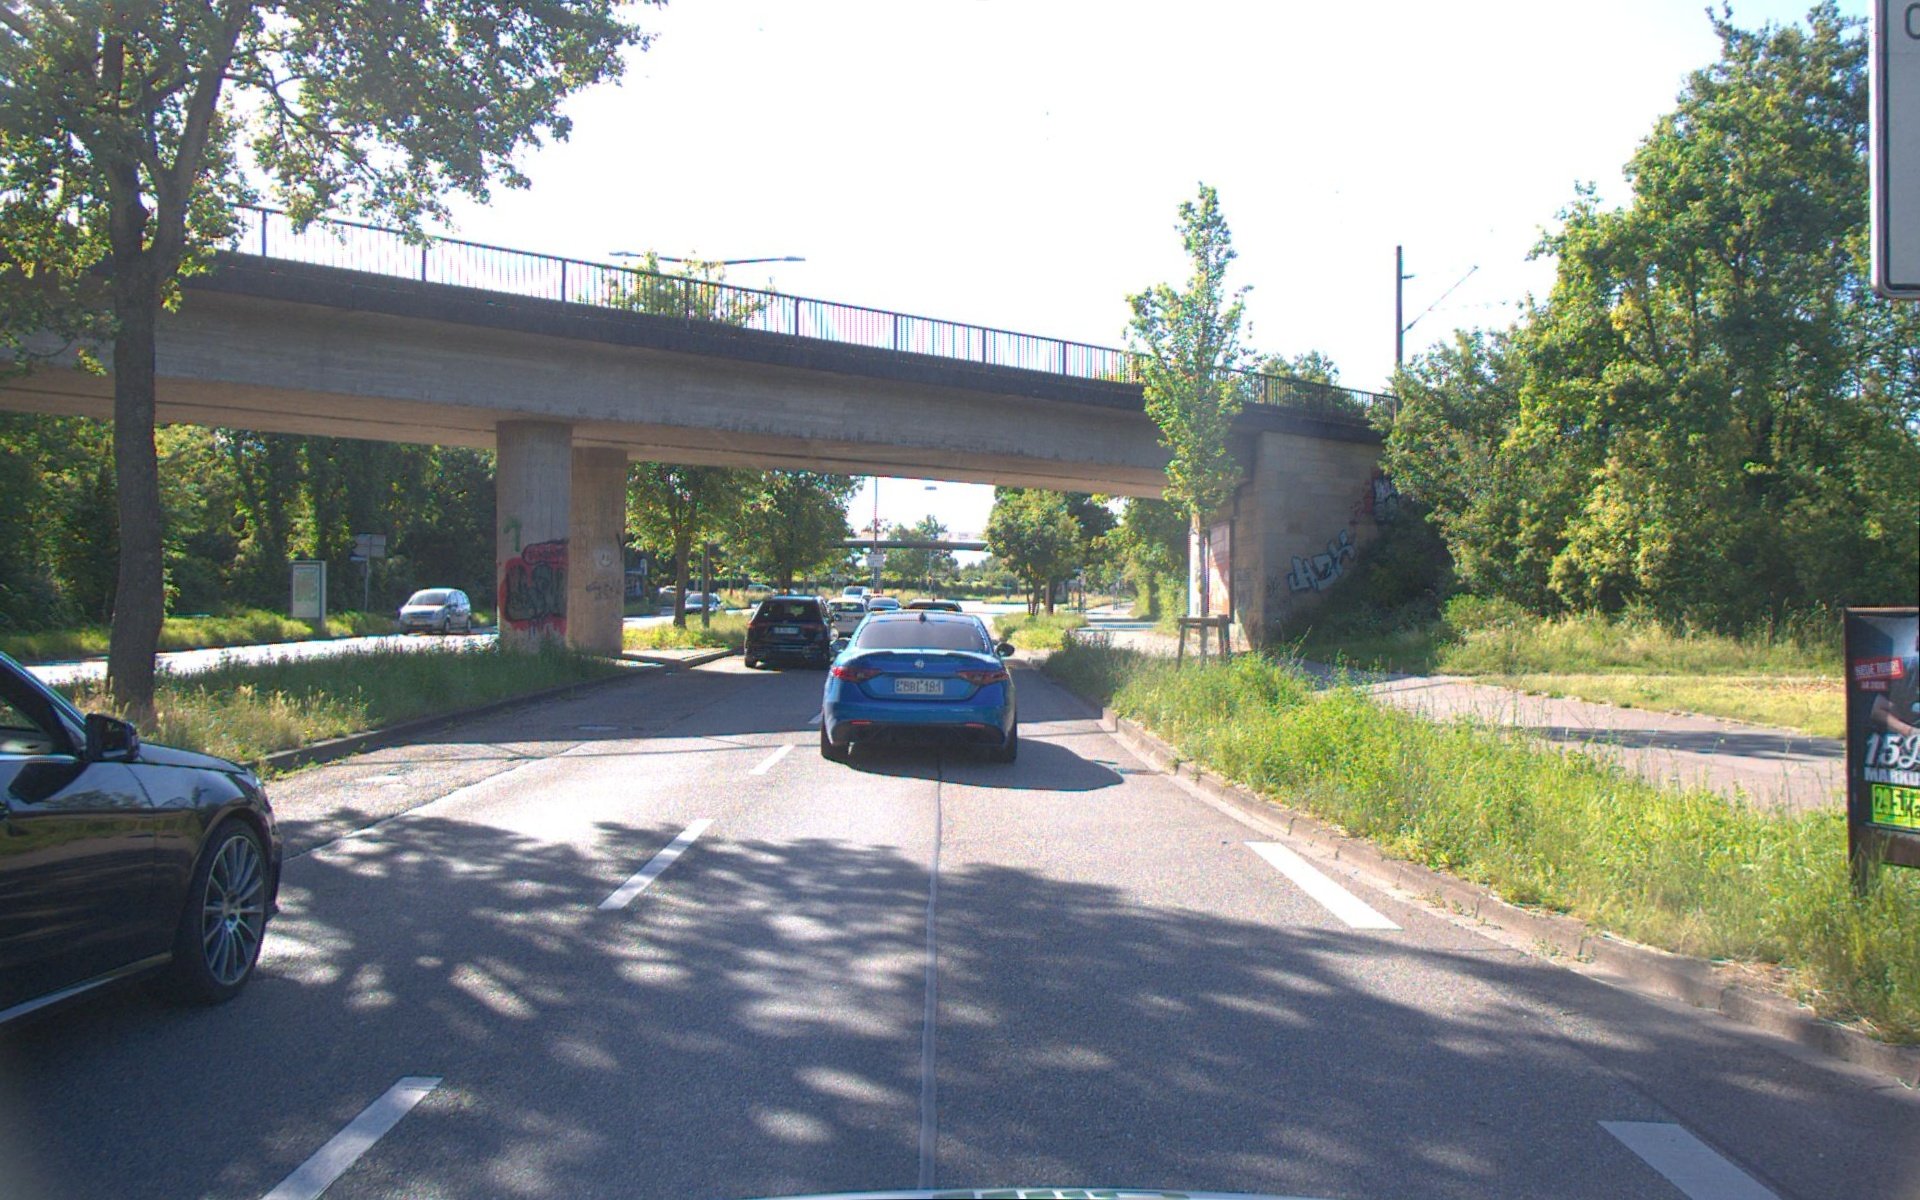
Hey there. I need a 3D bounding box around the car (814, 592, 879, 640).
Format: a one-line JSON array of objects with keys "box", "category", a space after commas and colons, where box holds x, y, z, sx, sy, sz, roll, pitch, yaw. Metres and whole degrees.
[{"box": [-3.725, 0.512, 54.916, 1.845, 1.479, 4.525, 2, 0, -1], "category": "car"}]

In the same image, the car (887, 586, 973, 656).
[{"box": [-0.689, 0.471, 38.763, 1.845, 1.479, 4.525, 2, 0, -1], "category": "car"}]

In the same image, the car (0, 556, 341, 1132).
[{"box": [-3.463, 0.622, 4.178, 1.919, 1.509, 4.918, 1, 0, 0], "category": "car"}]

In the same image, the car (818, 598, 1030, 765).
[{"box": [-0.341, 0.734, 16.843, 1.845, 1.431, 4.223, 2, 0, -1], "category": "car"}]

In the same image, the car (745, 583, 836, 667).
[{"box": [-3.543, 0.503, 35.197, 1.674, 1.626, 4.221, 2, 0, -3], "category": "car"}]

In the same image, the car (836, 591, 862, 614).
[{"box": [-9.688, 0.213, 144.395, 1.953, 1.963, 5.244, 1, 0, -1], "category": "car"}]

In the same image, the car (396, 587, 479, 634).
[{"box": [-19.068, 0.384, 60.514, 1.694, 1.645, 4.179, -1, 0, 0], "category": "car"}]

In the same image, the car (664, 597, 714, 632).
[{"box": [-13.195, 0.707, 80.738, 1.805, 1.570, 3.999, -2, 0, -1], "category": "car"}]

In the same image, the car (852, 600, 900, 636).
[{"box": [-3.645, 0.760, 72.382, 1.845, 1.479, 4.525, 2, 0, -1], "category": "car"}]
